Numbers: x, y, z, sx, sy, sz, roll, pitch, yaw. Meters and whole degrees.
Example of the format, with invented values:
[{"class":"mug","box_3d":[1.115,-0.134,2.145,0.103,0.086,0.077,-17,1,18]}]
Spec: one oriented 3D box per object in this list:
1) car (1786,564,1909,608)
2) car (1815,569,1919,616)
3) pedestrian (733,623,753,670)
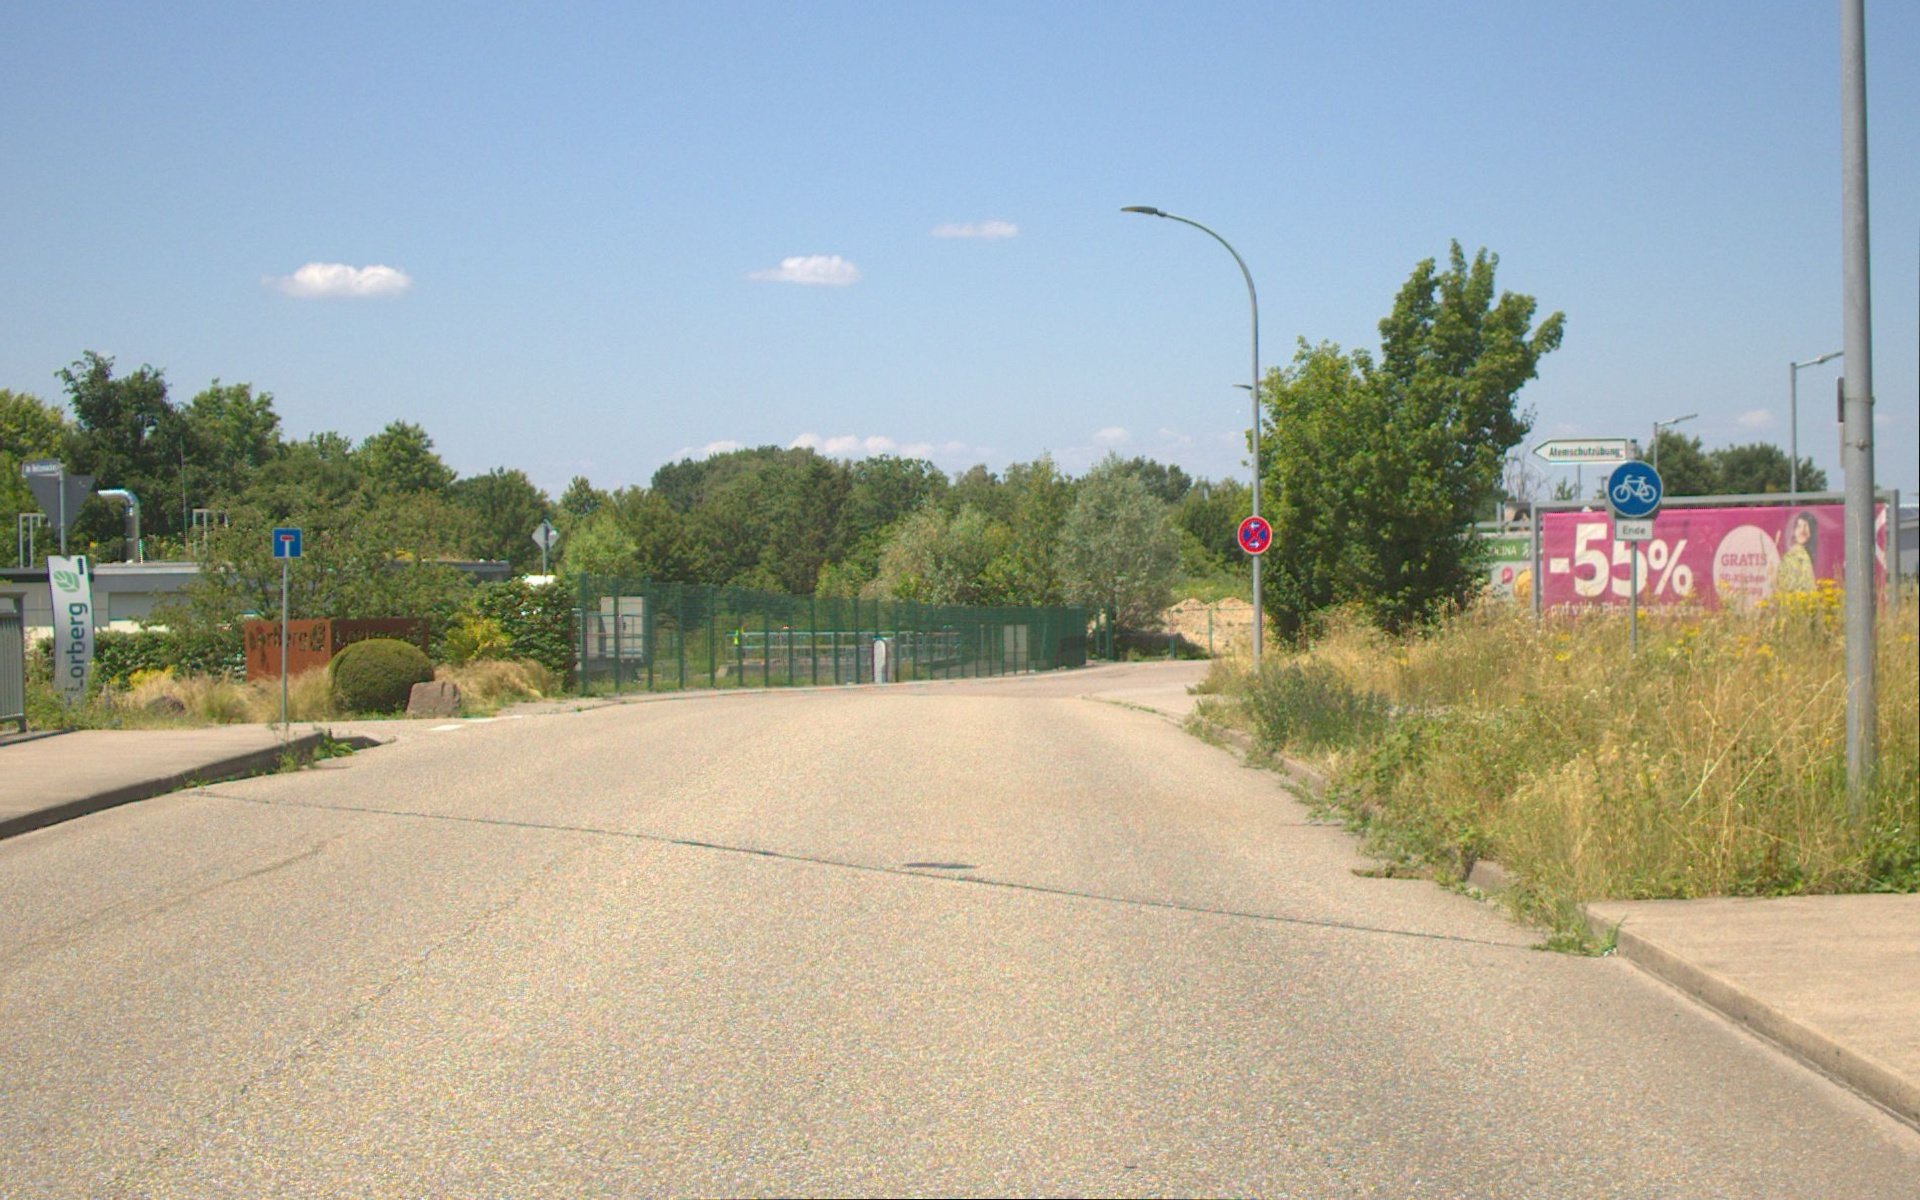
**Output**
[{"class":"car","box_3d":[29.508,-0.459,114.383,3.736,1.439,1.942,0,0,7]},{"class":"car","box_3d":[28.909,-0.230,108.011,3.736,1.439,1.942,0,0,7]},{"class":"pedestrian","box_3d":[-8.538,1.815,135.528,0.606,1.833,0.804,-1,-1,8]}]
